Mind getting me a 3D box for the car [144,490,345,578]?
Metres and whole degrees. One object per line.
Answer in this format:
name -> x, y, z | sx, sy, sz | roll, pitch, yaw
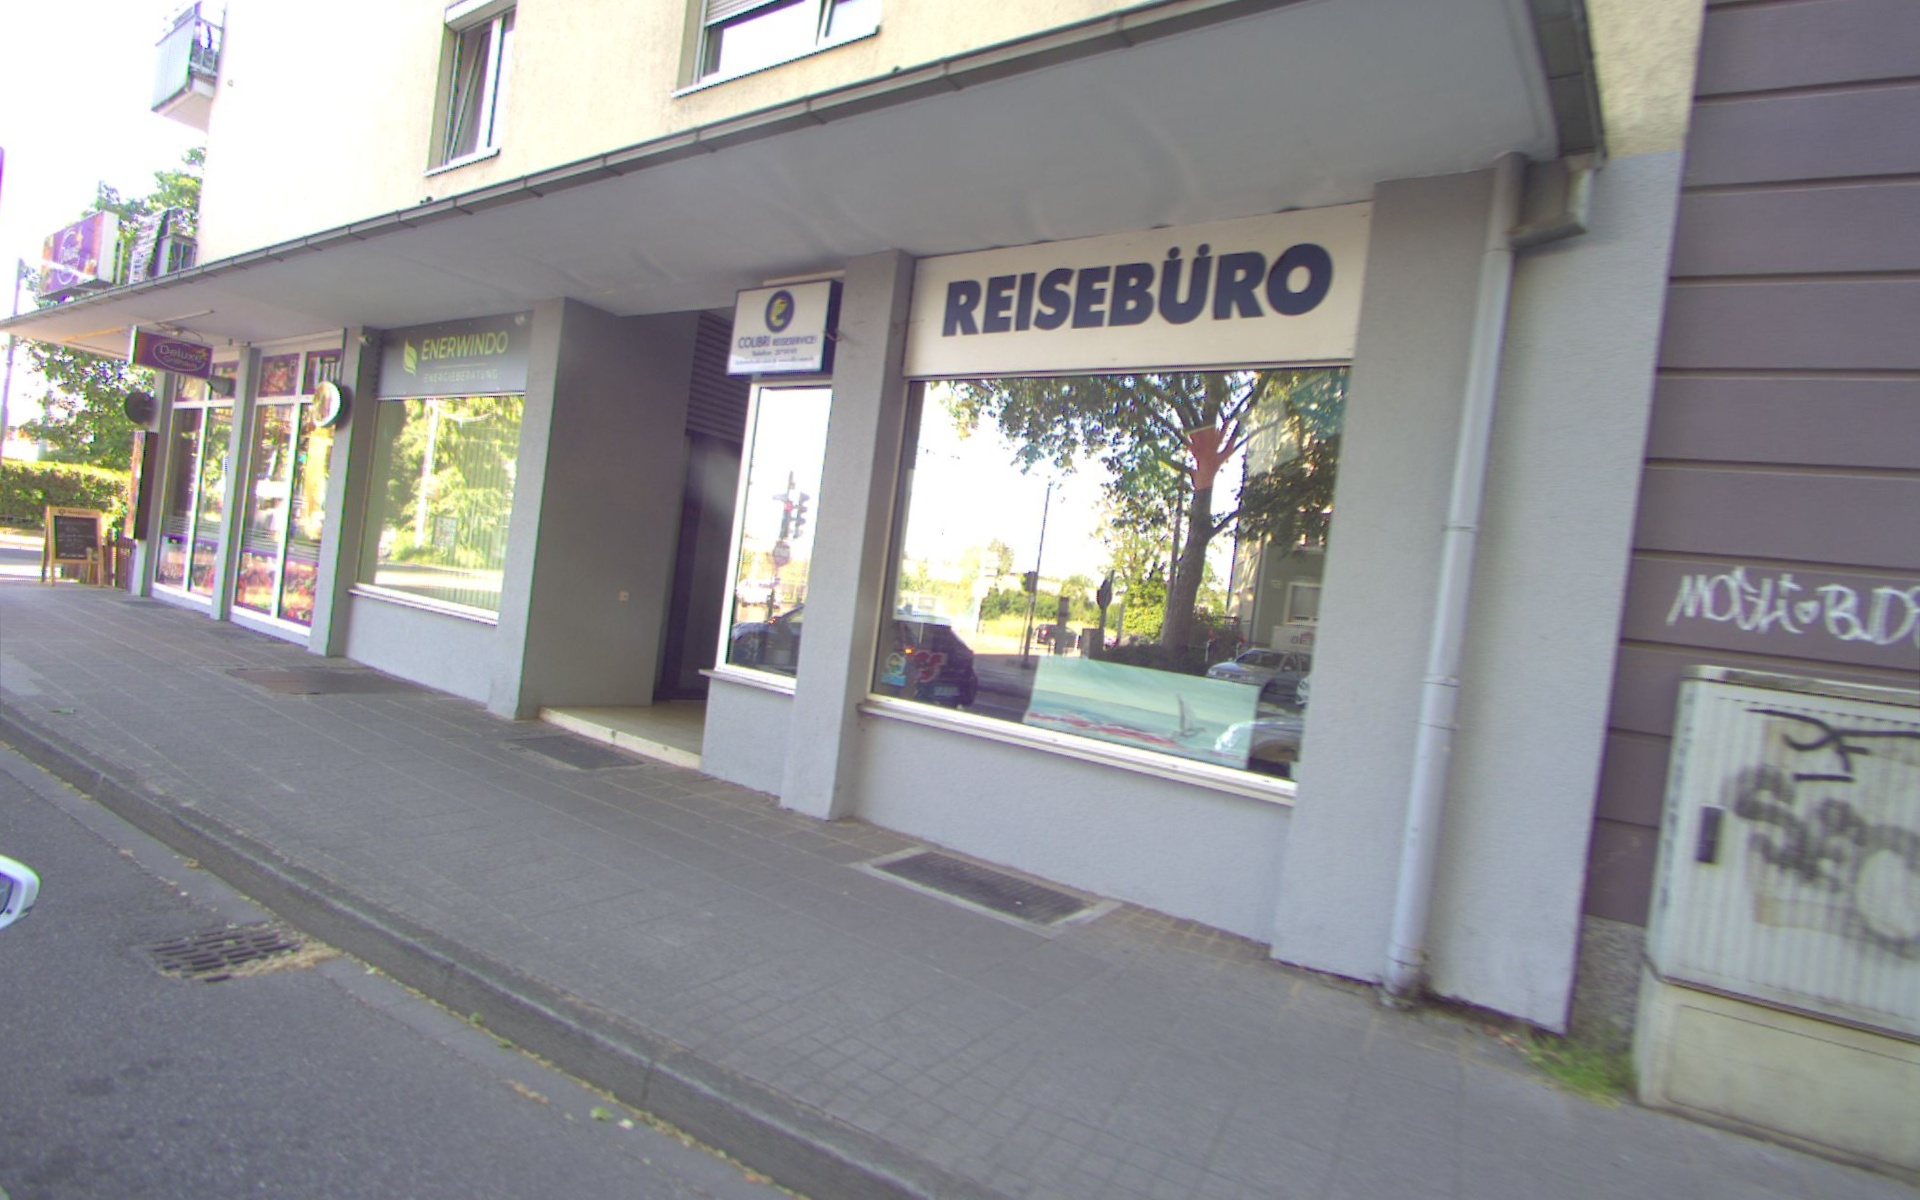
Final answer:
car -> -19.895, -1.786, 28.116 | 1.781, 1.835, 4.172 | 4, -3, 40
